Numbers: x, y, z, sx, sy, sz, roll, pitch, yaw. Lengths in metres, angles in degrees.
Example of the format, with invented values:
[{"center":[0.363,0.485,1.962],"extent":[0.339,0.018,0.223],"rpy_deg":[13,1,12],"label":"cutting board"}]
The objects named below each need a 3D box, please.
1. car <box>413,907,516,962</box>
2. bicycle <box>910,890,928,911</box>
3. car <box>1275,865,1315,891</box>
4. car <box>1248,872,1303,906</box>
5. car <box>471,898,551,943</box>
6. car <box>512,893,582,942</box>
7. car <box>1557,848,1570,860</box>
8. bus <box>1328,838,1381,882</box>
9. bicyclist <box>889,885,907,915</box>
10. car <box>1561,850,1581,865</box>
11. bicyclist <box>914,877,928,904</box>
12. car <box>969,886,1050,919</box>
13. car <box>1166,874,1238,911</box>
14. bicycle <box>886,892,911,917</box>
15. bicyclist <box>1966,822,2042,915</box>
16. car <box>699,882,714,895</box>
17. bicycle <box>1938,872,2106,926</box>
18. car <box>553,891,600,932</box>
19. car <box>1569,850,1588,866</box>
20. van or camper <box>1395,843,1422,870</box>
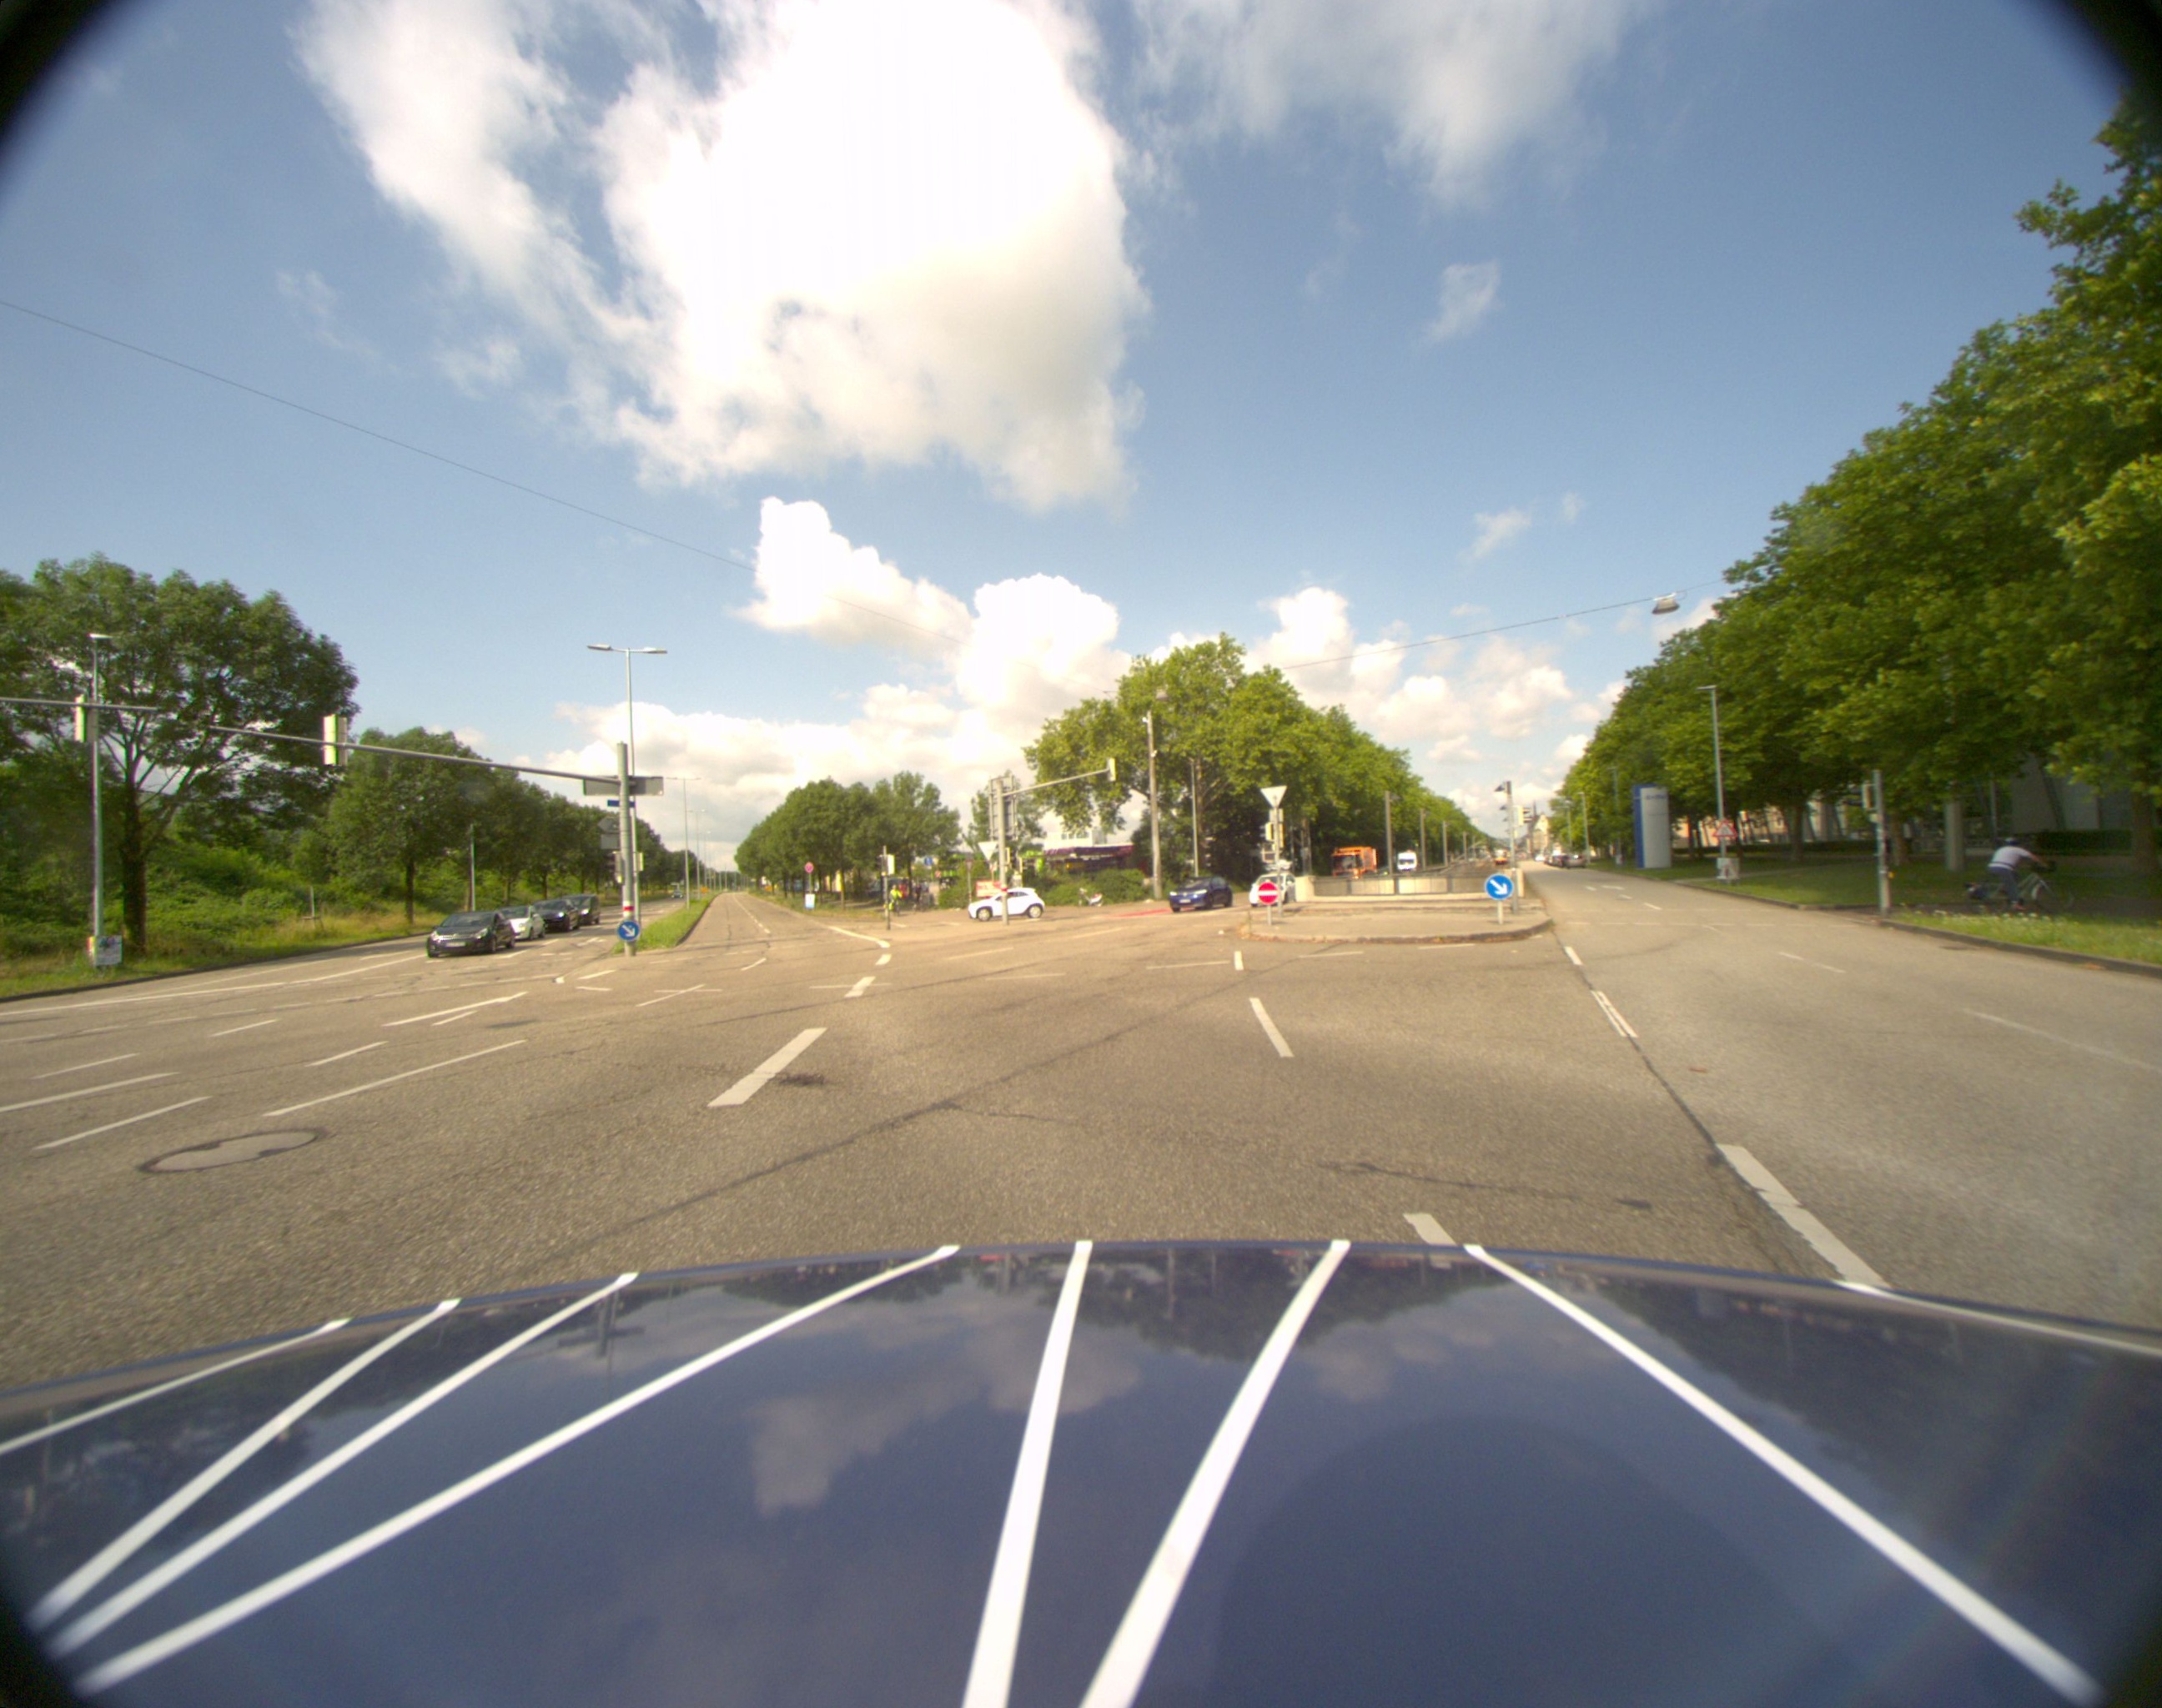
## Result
[{"center":[-20.850,2.658,25.873],"extent":[1.744,1.510,3.822],"rpy_deg":[-1,-1,-23],"label":"car"},{"center":[-10.198,2.919,47.774],"extent":[0.793,1.189,2.229],"rpy_deg":[-2,-1,-21],"label":"bicycle"},{"center":[14.989,1.634,53.000],"extent":[1.768,1.456,4.006],"rpy_deg":[0,3,30],"label":"car"},{"center":[9.210,1.612,35.833],"extent":[1.733,1.477,3.609],"rpy_deg":[0,-1,28],"label":"car"},{"center":[-23.996,2.749,32.160],"extent":[1.979,1.738,4.017],"rpy_deg":[0,-3,-26],"label":"car"},{"center":[-26.532,3.094,37.927],"extent":[1.822,1.635,4.790],"rpy_deg":[1,5,-22],"label":"car"},{"center":[60.861,-0.009,95.834],"extent":[1.178,1.237,2.553],"rpy_deg":[5,5,29],"label":"car"},{"center":[25.776,0.411,71.294],"extent":[2.738,3.448,10.411],"rpy_deg":[4,4,30],"label":"bus"},{"center":[-10.787,2.718,44.864],"extent":[0.678,1.671,0.835],"rpy_deg":[-5,5,-33],"label":"bicyclist"},{"center":[55.386,0.388,85.853],"extent":[1.578,1.427,3.162],"rpy_deg":[6,5,29],"label":"car"},{"center":[-10.077,2.289,47.862],"extent":[0.678,1.676,0.754],"rpy_deg":[-2,0,-21],"label":"bicyclist"},{"center":[-3.549,2.393,37.345],"extent":[3.799,1.469,1.750],"rpy_deg":[-2,-4,-10],"label":"car"},{"center":[5.845,1.769,36.195],"extent":[1.887,1.566,4.589],"rpy_deg":[-1,-1,30],"label":"car"},{"center":[-10.794,2.961,44.954],"extent":[0.678,1.190,2.226],"rpy_deg":[-5,5,-32],"label":"bicycle"},{"center":[20.485,0.301,16.884],"extent":[0.729,2.004,0.604],"rpy_deg":[3,6,23],"label":"bicyclist"},{"center":[-52.105,4.808,105.731],"extent":[1.784,1.499,3.991],"rpy_deg":[0,1,-25],"label":"car"},{"center":[20.776,0.993,16.851],"extent":[2.177,1.080,0.887],"rpy_deg":[-2,2,23],"label":"bicycle"},{"center":[-29.137,3.258,44.007],"extent":[1.645,1.626,4.193],"rpy_deg":[1,6,-25],"label":"car"},{"center":[52.589,0.392,80.329],"extent":[1.417,1.448,3.162],"rpy_deg":[6,5,29],"label":"car"},{"center":[37.559,0.210,86.958],"extent":[2.159,2.771,5.974],"rpy_deg":[4,4,28],"label":"van or camper"}]
